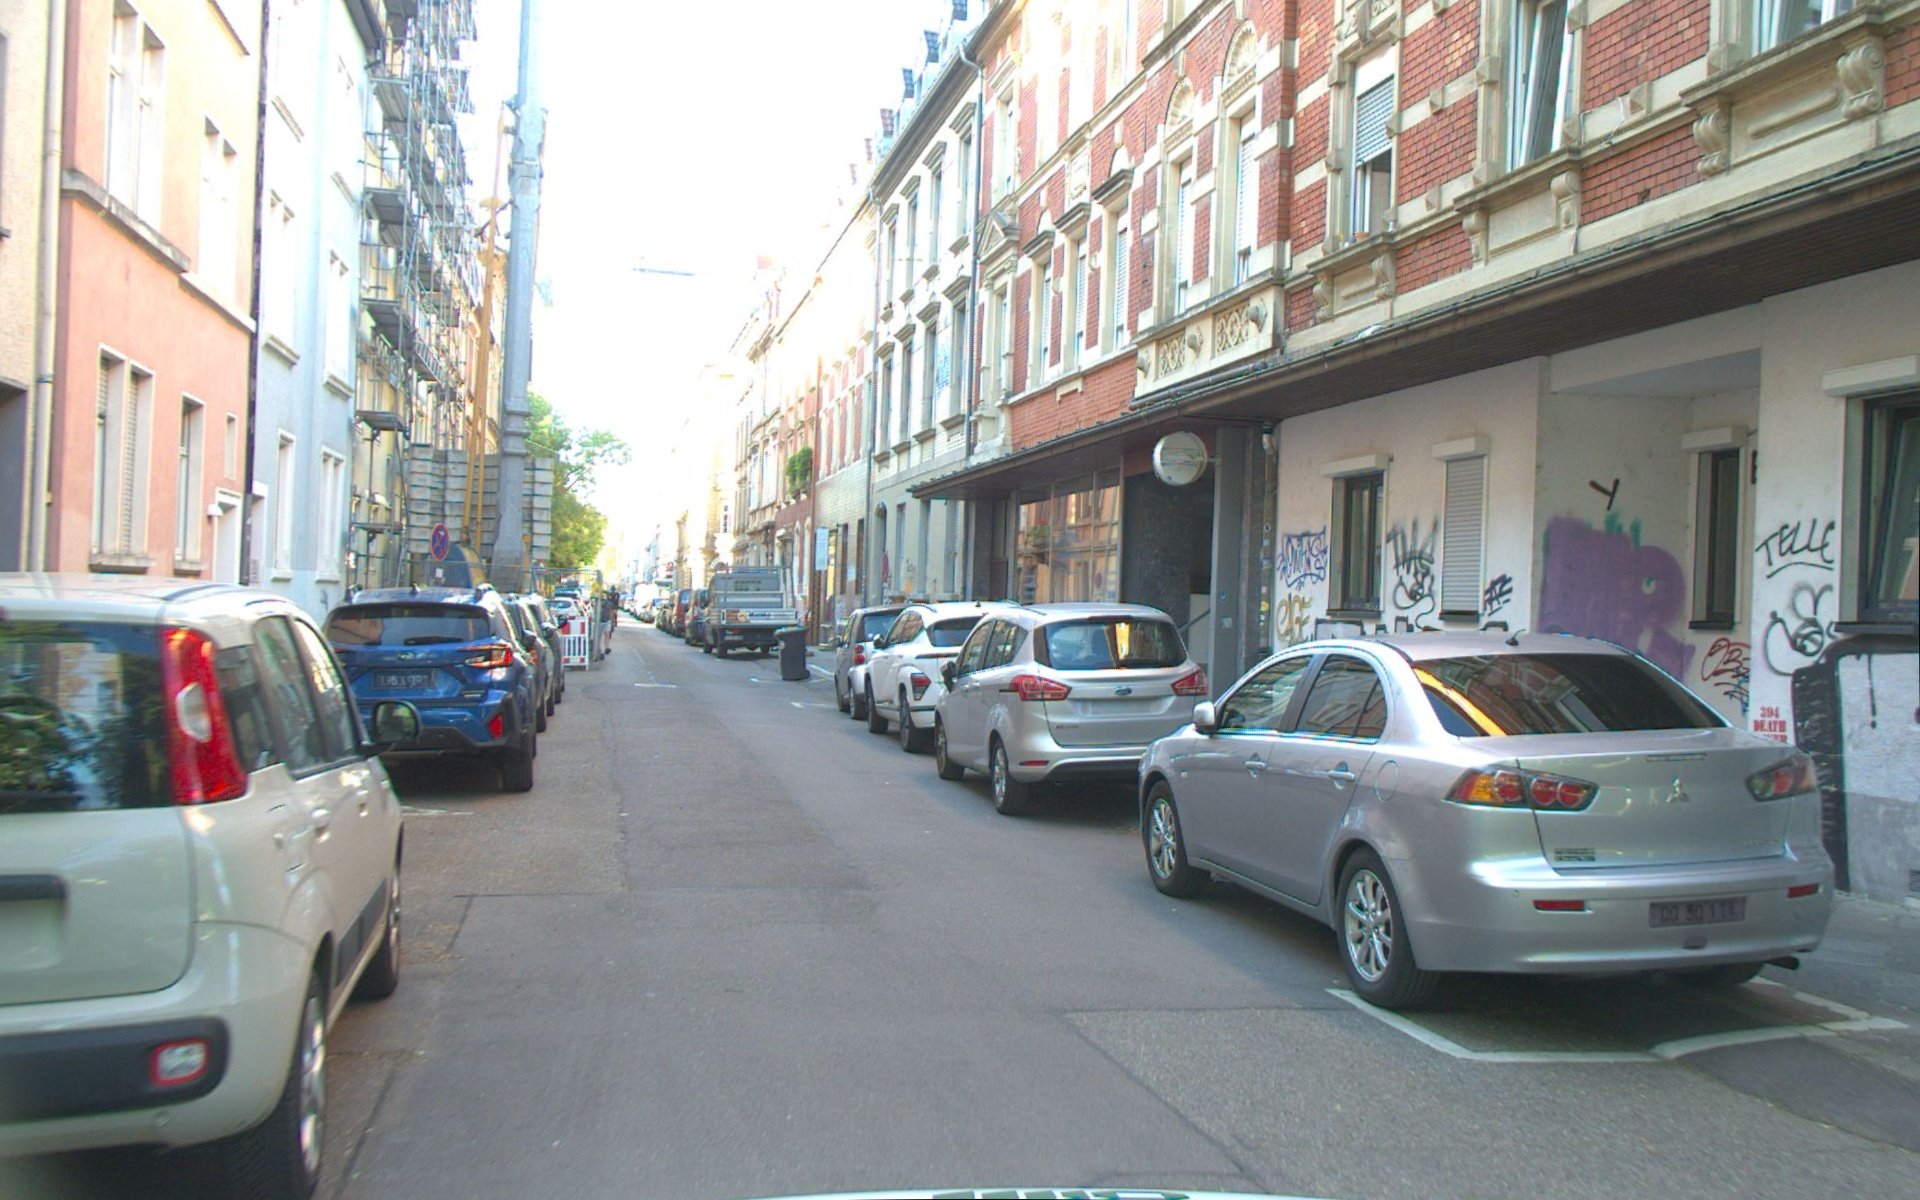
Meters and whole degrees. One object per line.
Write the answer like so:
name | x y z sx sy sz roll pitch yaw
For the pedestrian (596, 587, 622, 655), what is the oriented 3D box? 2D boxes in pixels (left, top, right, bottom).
pedestrian | -9.218 0.542 43.413 0.646 1.763 0.717 0 0 -13

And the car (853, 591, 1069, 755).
car | -0.112 0.782 19.622 1.715 1.705 4.328 1 0 -11

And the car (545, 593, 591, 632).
car | -15.521 0.477 65.346 1.647 1.470 3.854 1 0 -15

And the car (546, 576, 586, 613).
car | -17.932 -0.233 75.198 1.647 1.598 3.854 1 0 -15

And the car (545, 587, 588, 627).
car | -16.699 0.300 70.077 1.647 1.598 3.854 1 0 -15

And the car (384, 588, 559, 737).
car | -5.637 0.665 19.503 1.646 1.538 4.400 1 0 -13

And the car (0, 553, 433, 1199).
car | -2.610 0.686 5.100 1.647 1.566 3.854 1 0 -15

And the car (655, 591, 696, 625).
car | -14.044 0.405 81.567 1.647 1.598 3.854 1 0 -15

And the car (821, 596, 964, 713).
car | -1.085 0.756 24.705 1.568 1.587 3.803 1 0 -11

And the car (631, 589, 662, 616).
car | -22.505 0.137 118.744 1.960 1.881 3.986 1 0 -14

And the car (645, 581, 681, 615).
car | -18.971 -0.116 105.433 1.960 2.049 3.986 2 0 -14

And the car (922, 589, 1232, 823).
car | 0.830 0.789 14.020 1.611 1.685 3.858 2 -1 -12

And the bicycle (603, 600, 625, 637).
bicycle | -12.403 0.650 59.269 0.712 1.207 2.036 3 0 -12

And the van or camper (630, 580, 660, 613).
van or camper | -25.418 -0.303 133.218 1.962 2.552 4.183 1 0 -17

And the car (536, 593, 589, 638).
car | -13.667 0.513 56.755 1.647 1.470 3.854 1 0 -15

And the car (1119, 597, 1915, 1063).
car | 2.247 0.821 8.079 1.691 1.589 4.386 2 0 -12

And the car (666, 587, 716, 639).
car | -11.138 0.526 68.441 1.647 2.066 3.854 1 0 -15

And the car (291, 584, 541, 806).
car | -4.439 0.673 14.004 1.700 1.566 4.360 0 0 -15

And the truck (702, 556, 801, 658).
truck | -5.892 0.179 46.128 2.152 2.652 5.215 1 0 -14

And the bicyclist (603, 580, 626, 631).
bicyclist | -12.385 0.181 59.283 0.717 1.792 0.833 2 0 -12

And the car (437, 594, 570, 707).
car | -6.692 0.686 24.609 1.646 1.503 4.593 1 0 -13

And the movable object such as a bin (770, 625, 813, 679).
movable object such as a bin | -3.480 1.076 34.141 0.781 1.074 0.658 2 0 -13

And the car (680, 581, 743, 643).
car | -8.478 0.384 56.274 1.647 1.997 4.093 1 0 -15
